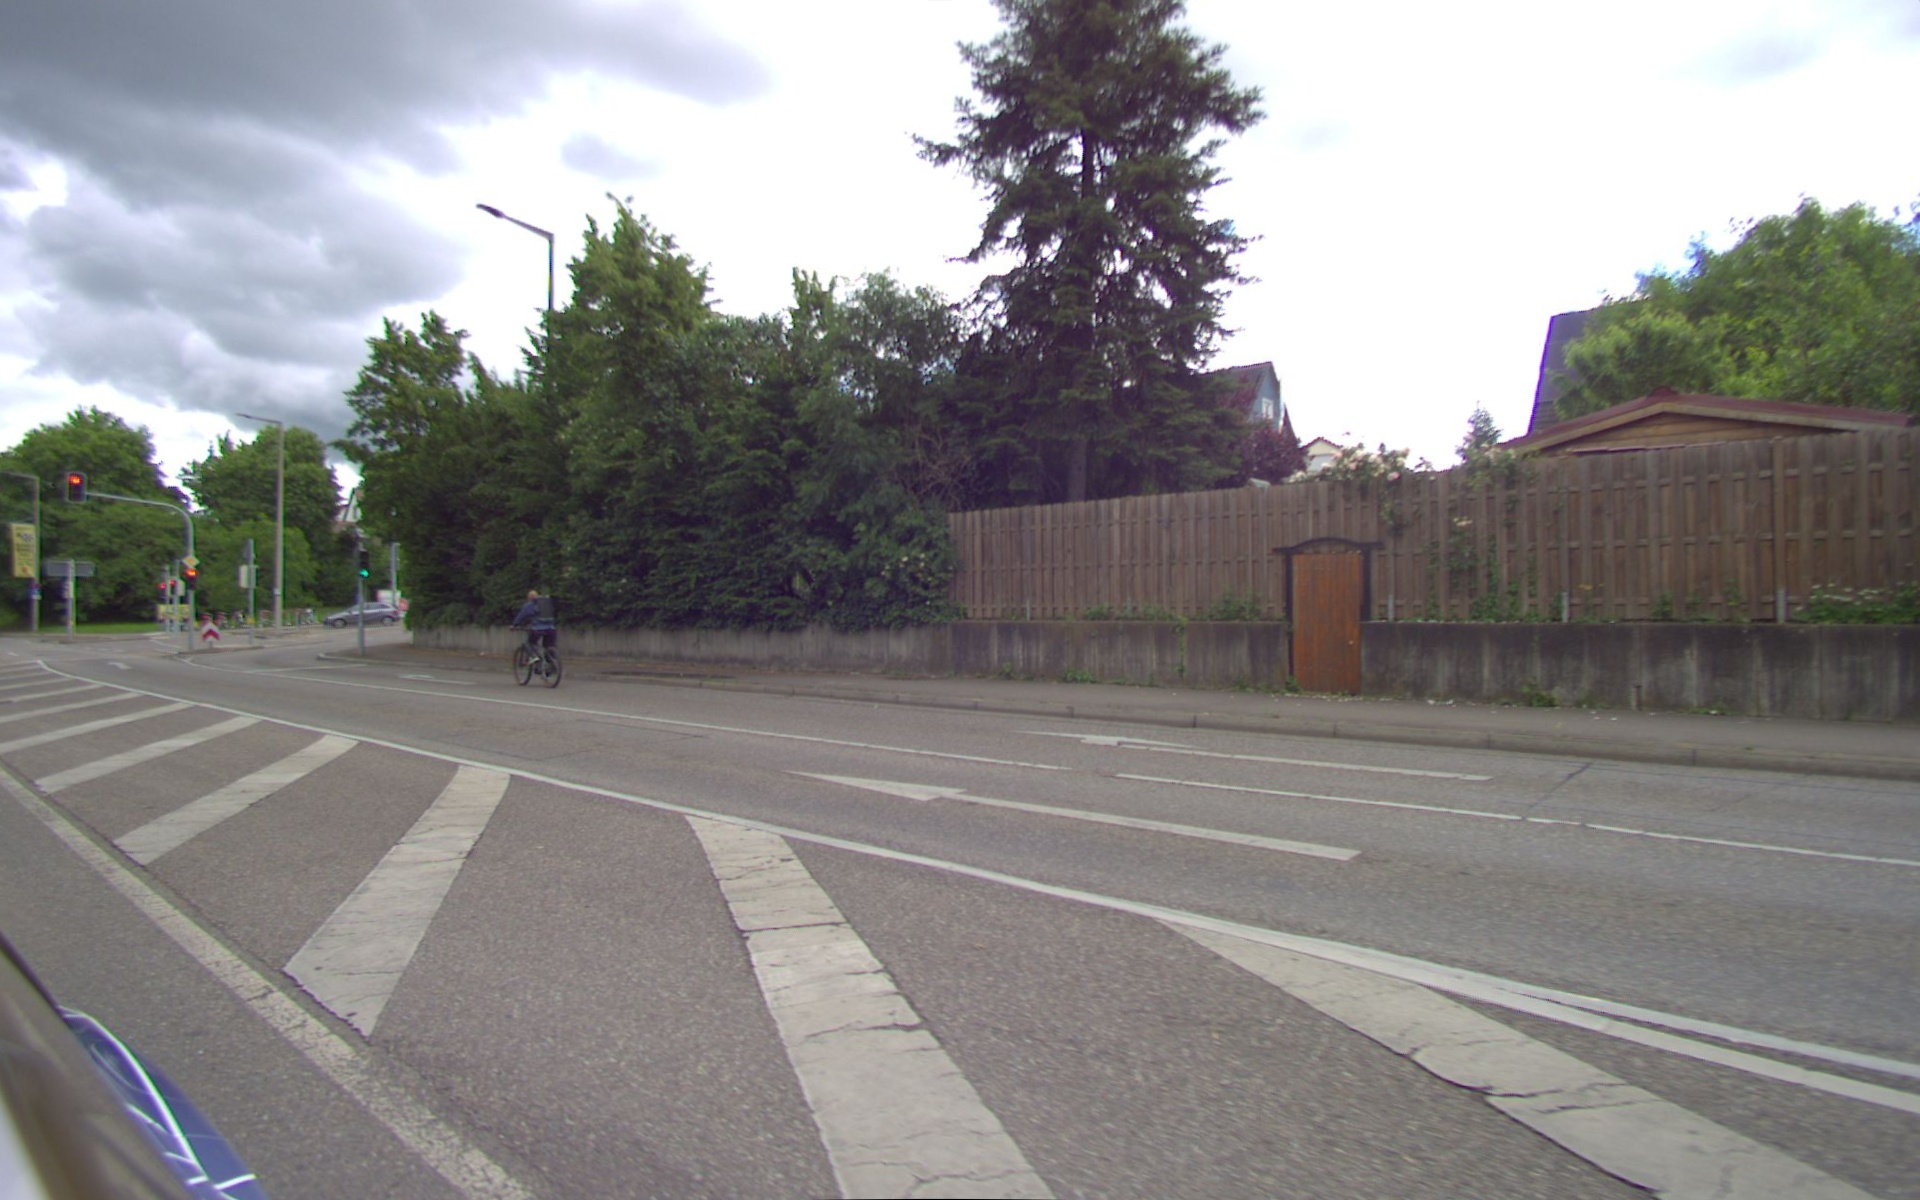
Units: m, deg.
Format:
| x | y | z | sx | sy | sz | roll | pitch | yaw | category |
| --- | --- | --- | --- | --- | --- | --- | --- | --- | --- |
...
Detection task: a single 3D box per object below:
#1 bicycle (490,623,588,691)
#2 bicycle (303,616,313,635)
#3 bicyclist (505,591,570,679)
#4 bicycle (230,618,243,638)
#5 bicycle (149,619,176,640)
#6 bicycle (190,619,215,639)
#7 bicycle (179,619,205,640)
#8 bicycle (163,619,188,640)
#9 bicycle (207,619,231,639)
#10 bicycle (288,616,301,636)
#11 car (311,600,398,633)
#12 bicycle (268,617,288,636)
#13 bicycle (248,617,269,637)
| x | y | z | sx | sy | sz | roll | pitch | yaw | category |
| --- | --- | --- | --- | --- | --- | --- | --- | --- | --- |
| -7.726 | 1.020 | 18.520 | 2.144 | 1.154 | 0.636 | -2 | 1 | 37 | bicycle |
| -45.323 | 1.758 | 70.392 | 0.536 | 1.262 | 1.941 | -2 | 1 | -32 | bicycle |
| -7.723 | 0.637 | 18.503 | 0.977 | 1.546 | 0.636 | -2 | 1 | 37 | bicyclist |
| -48.941 | 1.884 | 68.466 | 0.536 | 1.262 | 1.941 | -2 | 1 | -32 | bicycle |
| -52.890 | 1.954 | 67.142 | 0.537 | 1.262 | 1.940 | -2 | 1 | -12 | bicycle |
| -50.681 | 1.941 | 67.738 | 0.537 | 1.262 | 1.940 | -2 | 1 | -12 | bicycle |
| -51.401 | 1.959 | 67.747 | 0.537 | 1.262 | 1.940 | -2 | 1 | -12 | bicycle |
| -52.255 | 1.954 | 67.425 | 0.537 | 1.262 | 1.940 | -2 | 1 | -12 | bicycle |
| -49.820 | 1.914 | 68.040 | 0.537 | 1.262 | 1.940 | -2 | 1 | -12 | bicycle |
| -46.031 | 1.783 | 70.013 | 0.536 | 1.262 | 1.942 | -2 | 1 | -26 | bicycle |
| -38.856 | 1.024 | 65.035 | 4.665 | 1.866 | 2.006 | -2 | 1 | -30 | car |
| -46.822 | 1.813 | 69.467 | 0.536 | 1.262 | 1.941 | -2 | 1 | -16 | bicycle |
| -47.815 | 1.846 | 69.003 | 0.536 | 1.262 | 1.941 | -2 | 1 | -16 | bicycle |
